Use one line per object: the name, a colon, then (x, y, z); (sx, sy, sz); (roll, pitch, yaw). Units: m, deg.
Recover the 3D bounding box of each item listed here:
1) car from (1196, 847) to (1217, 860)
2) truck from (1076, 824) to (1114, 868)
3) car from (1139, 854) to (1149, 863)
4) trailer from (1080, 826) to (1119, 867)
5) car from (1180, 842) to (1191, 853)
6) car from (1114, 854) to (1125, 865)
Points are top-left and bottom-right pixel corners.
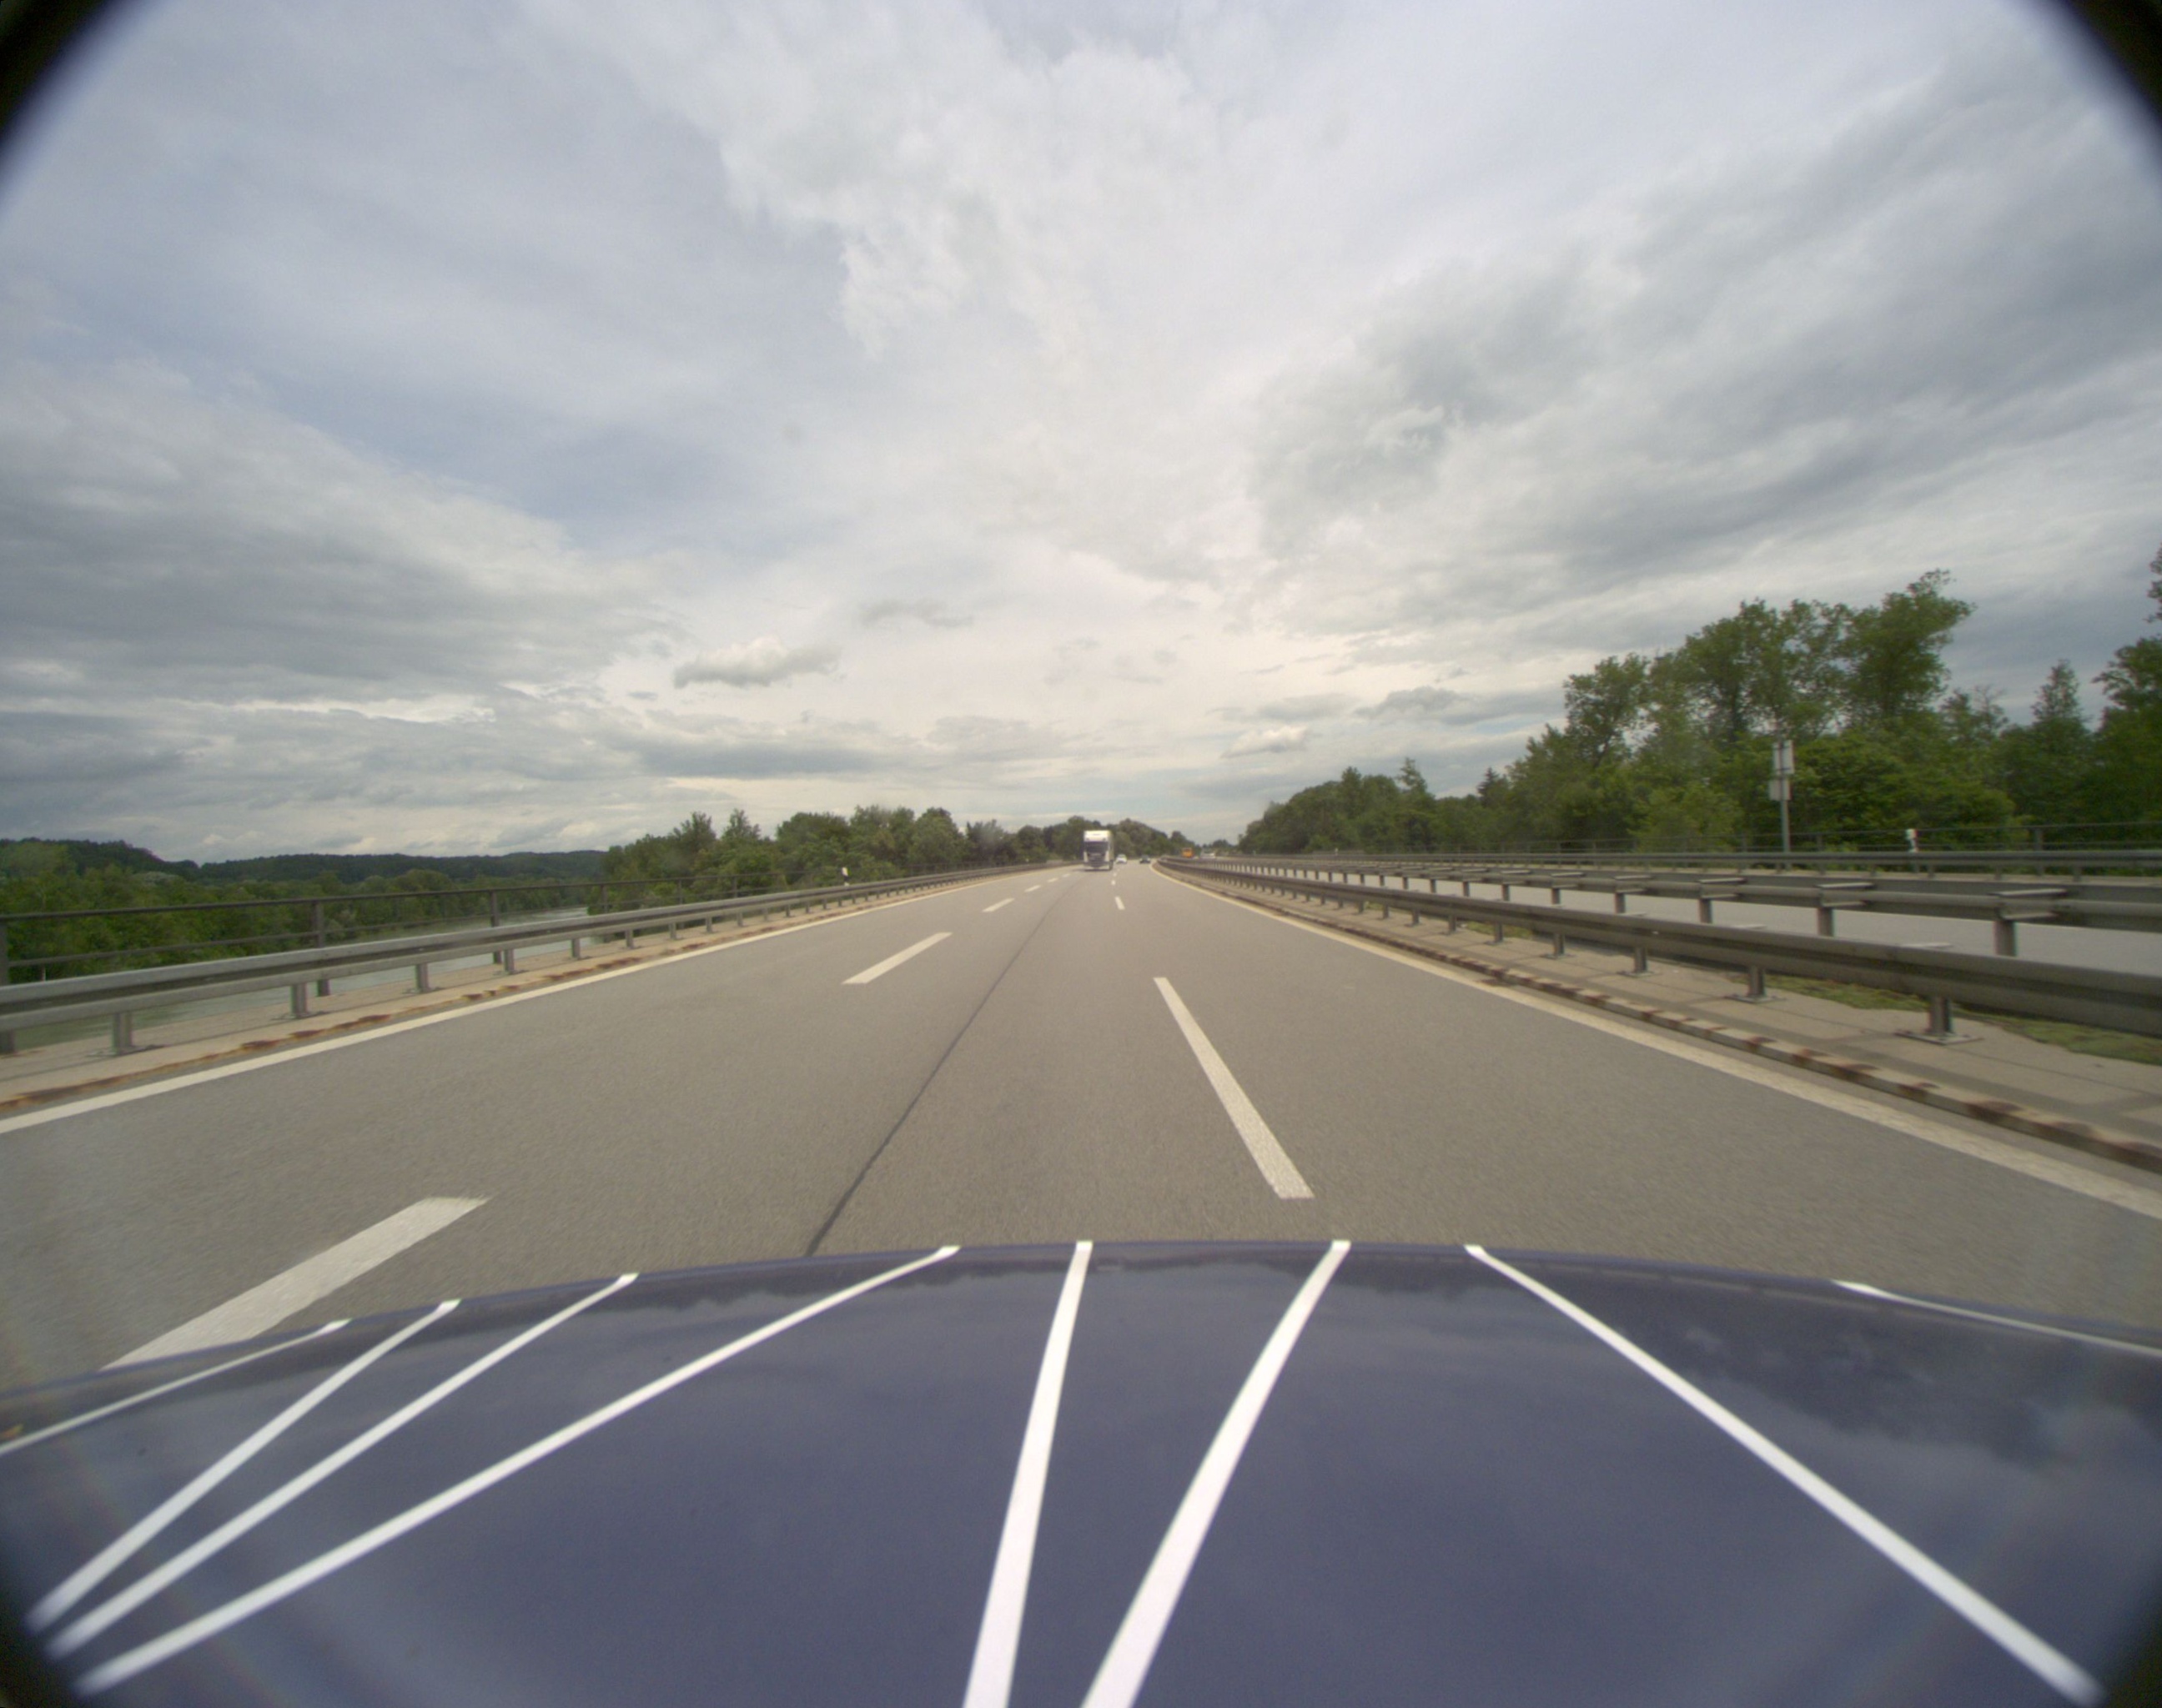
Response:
car: (14.308, -0.095, 86.650); (1.776, 1.379, 4.388); (-3, 0, 2)
truck: (1.389, -0.743, 72.760); (3.069, 3.869, 6.002); (-2, 0, 5)
car: (10.844, 0.759, 130.723); (1.774, 1.474, 4.699); (-1, -1, 5)
trailer: (2.148, -0.744, 81.203); (3.068, 3.868, 13.795); (-2, 0, 5)
car: (22.176, -1.333, 161.695); (1.998, 2.279, 6.400); (-2, 0, 6)
car: (6.839, 0.964, 134.644); (1.774, 1.813, 4.167); (-2, 0, 5)
